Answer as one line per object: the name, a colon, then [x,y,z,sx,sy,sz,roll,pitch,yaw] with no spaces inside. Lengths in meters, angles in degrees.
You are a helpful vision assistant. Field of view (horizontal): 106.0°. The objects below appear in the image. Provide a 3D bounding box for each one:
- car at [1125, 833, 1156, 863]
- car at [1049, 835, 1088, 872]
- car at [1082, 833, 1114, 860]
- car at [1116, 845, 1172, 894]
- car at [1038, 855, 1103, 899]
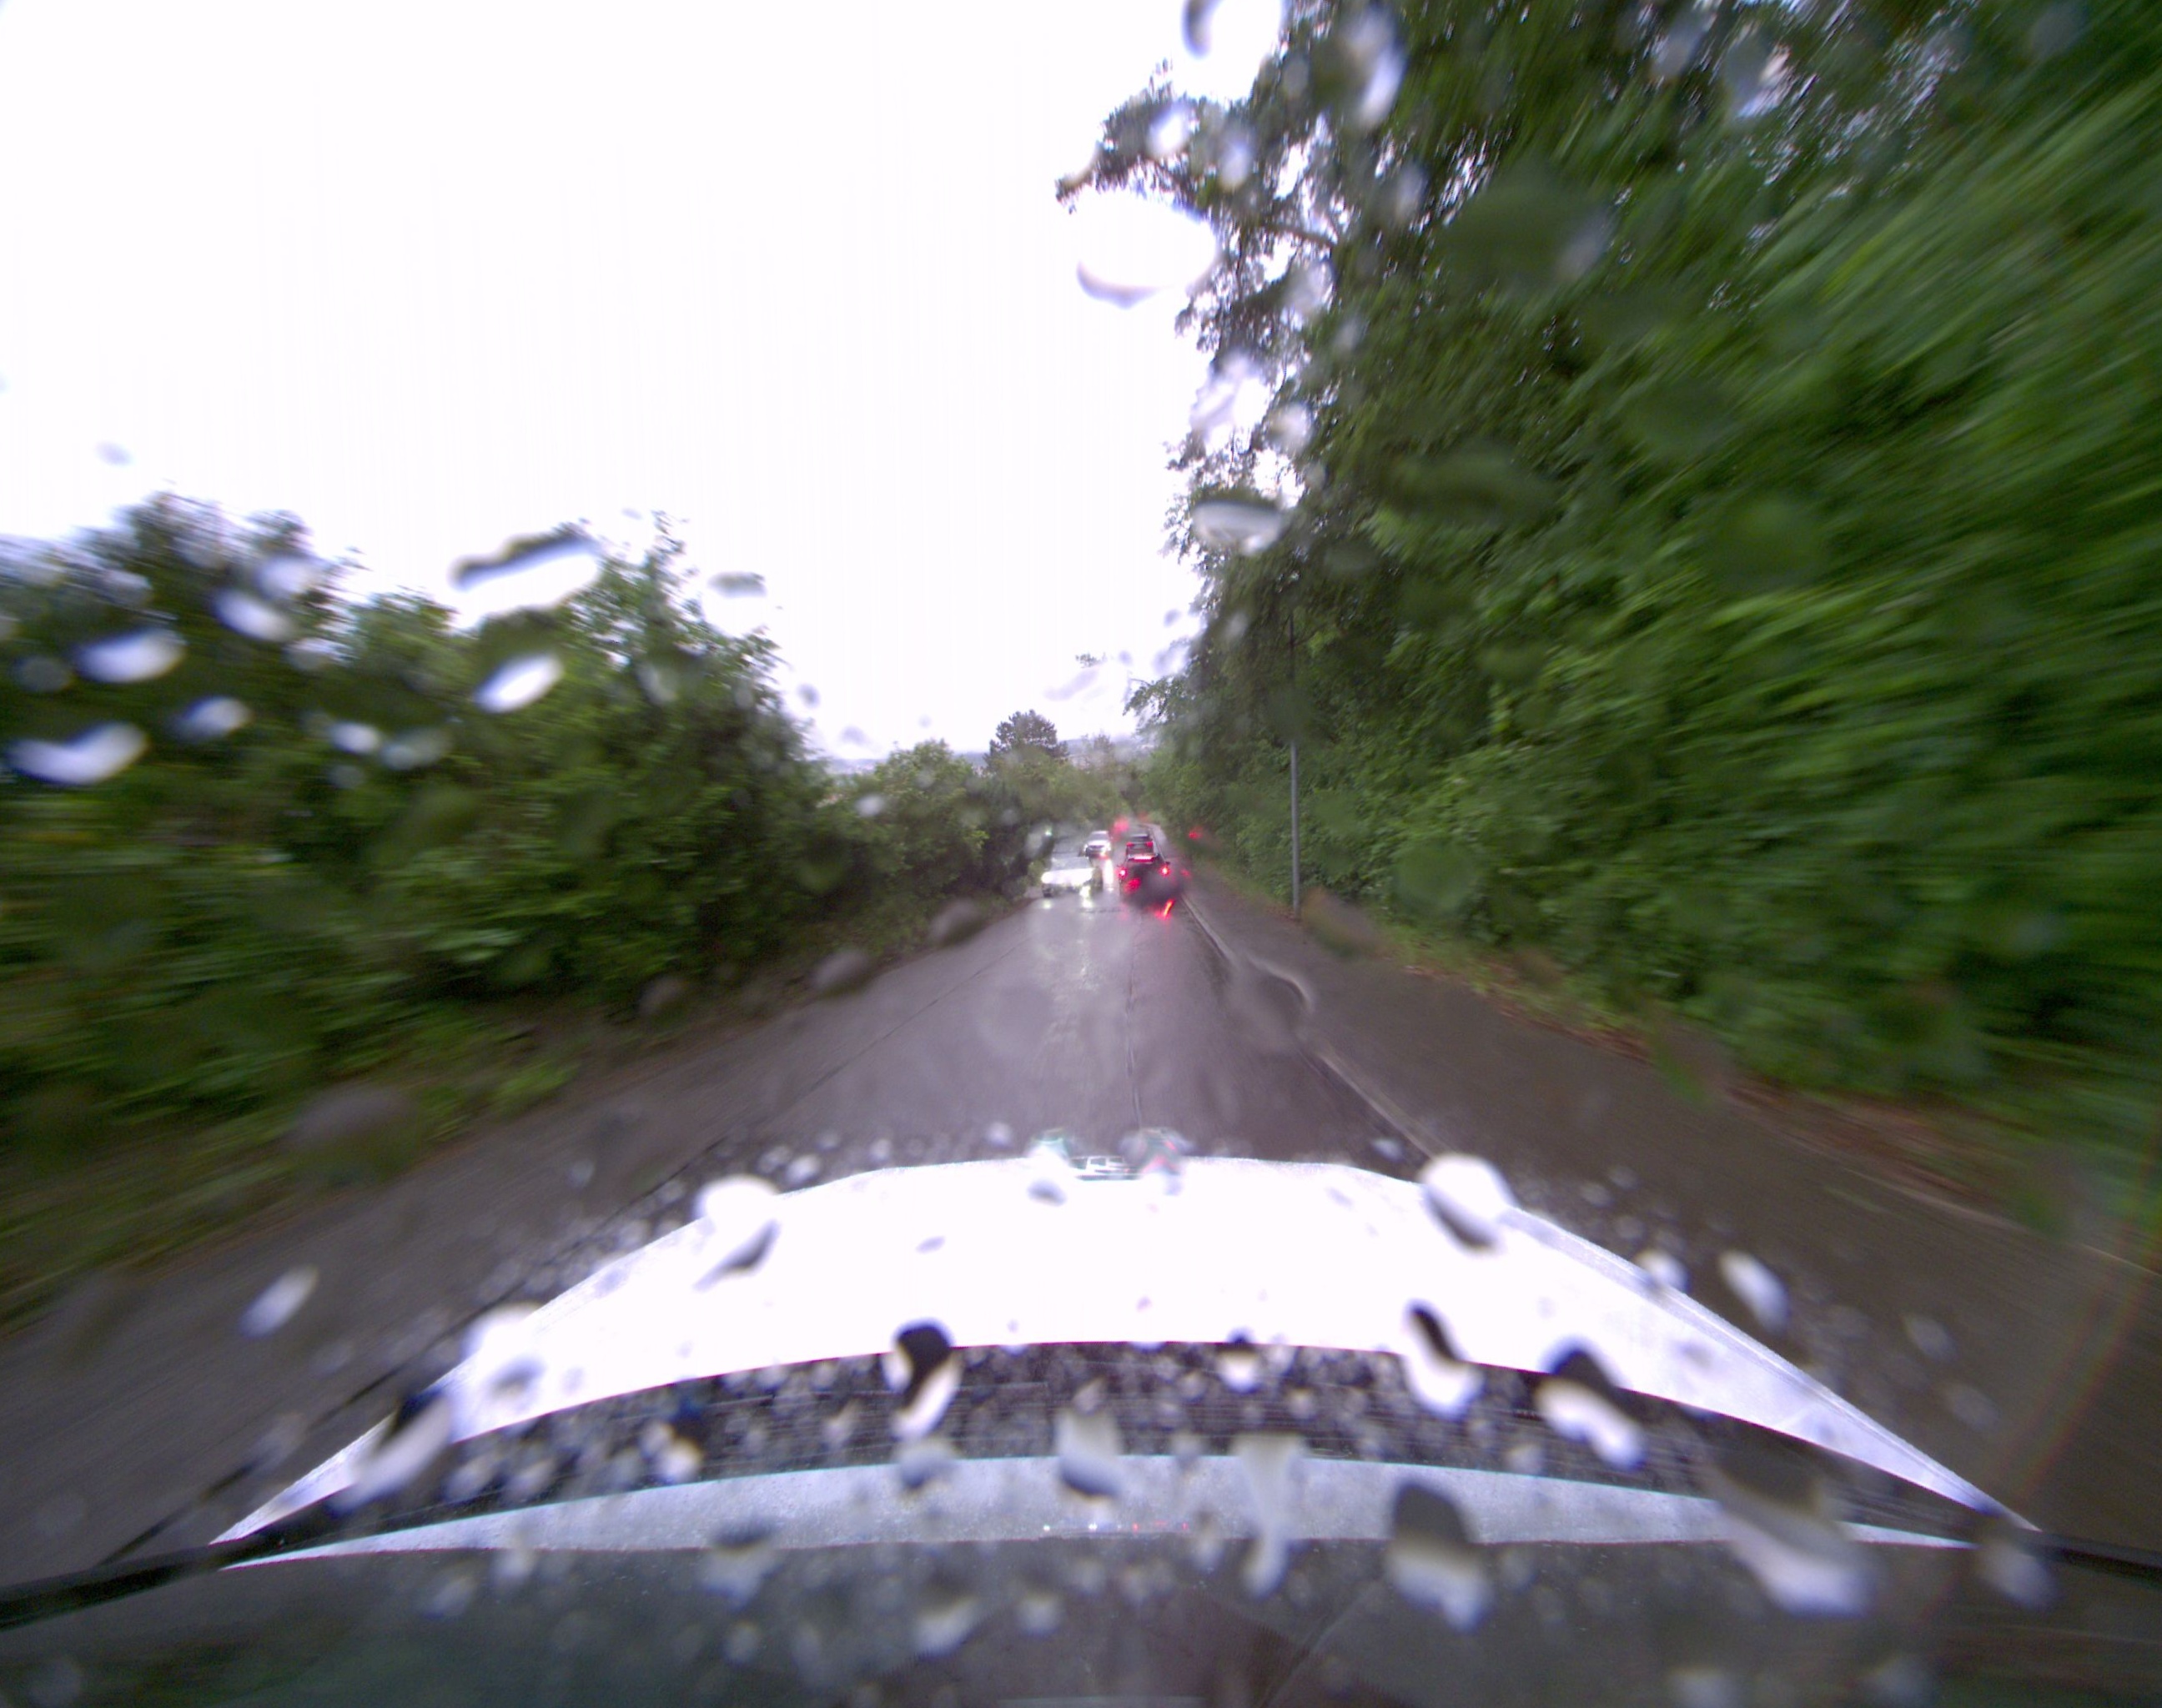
car: [3.831,-0.365,52.764,1.855,1.743,4.003,-2,-2,3]
car: [-0.646,-0.065,45.913,1.681,1.782,4.239,-3,2,5]
car: [1.198,-0.561,55.854,2.039,1.600,4.235,-1,3,3]
car: [2.185,0.499,29.125,1.694,1.450,4.002,-3,2,1]
car: [-0.319,0.912,31.653,1.931,1.522,4.586,-2,-2,6]
